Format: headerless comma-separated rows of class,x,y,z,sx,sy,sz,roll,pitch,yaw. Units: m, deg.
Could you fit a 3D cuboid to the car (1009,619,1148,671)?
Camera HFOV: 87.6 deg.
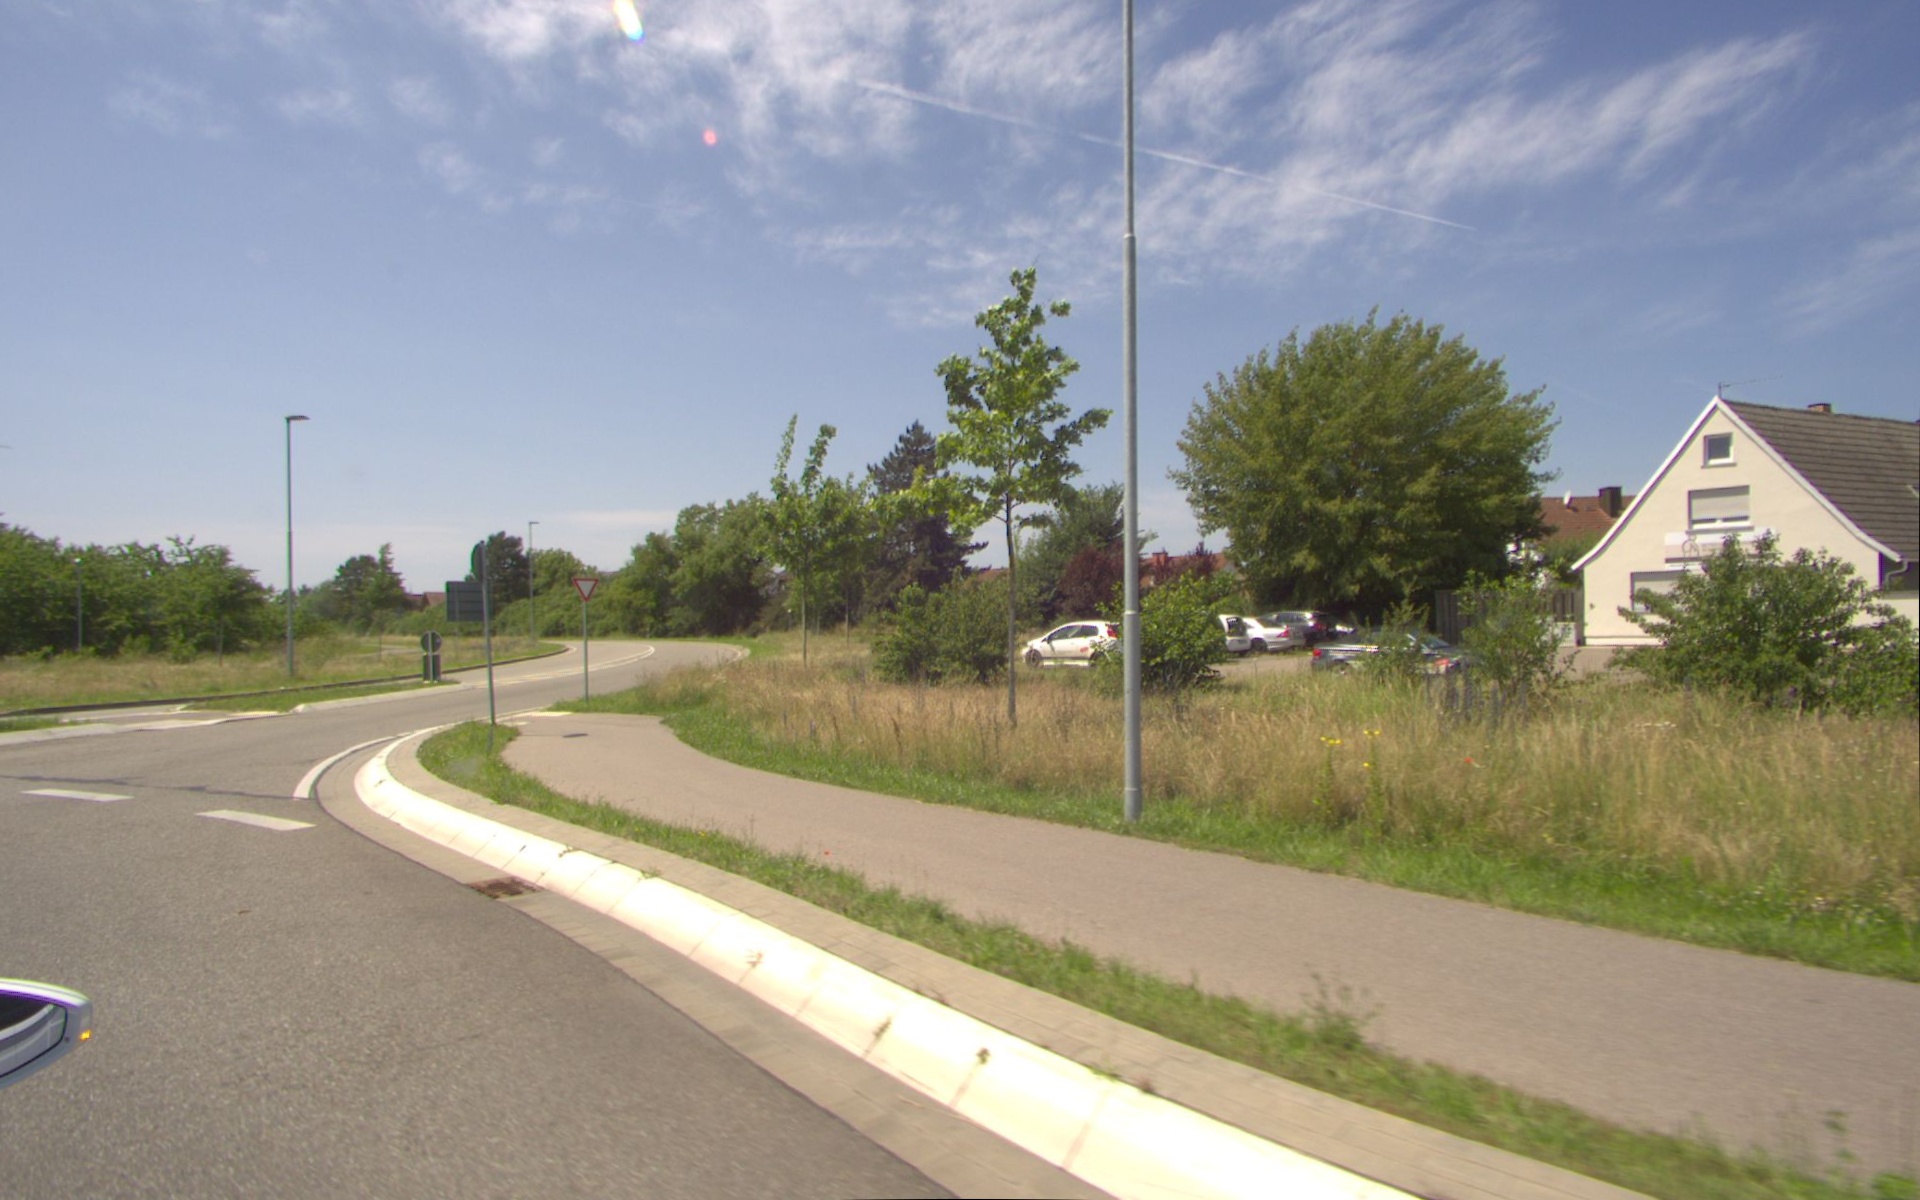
car,3.539,1.344,30.285,3.959,1.446,1.731,-2,-2,44

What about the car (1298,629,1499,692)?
car,10.084,1.353,23.148,3.953,1.328,1.734,-2,-1,40

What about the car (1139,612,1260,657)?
car,8.568,1.198,35.974,1.756,1.462,3.927,0,0,-44

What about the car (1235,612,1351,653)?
car,12.857,1.212,38.793,1.757,1.462,3.927,0,0,-44

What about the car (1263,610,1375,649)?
car,14.521,1.159,40.641,1.757,1.462,3.927,0,0,-44

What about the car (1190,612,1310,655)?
car,10.690,1.239,37.010,3.943,1.505,1.738,-2,-1,32
